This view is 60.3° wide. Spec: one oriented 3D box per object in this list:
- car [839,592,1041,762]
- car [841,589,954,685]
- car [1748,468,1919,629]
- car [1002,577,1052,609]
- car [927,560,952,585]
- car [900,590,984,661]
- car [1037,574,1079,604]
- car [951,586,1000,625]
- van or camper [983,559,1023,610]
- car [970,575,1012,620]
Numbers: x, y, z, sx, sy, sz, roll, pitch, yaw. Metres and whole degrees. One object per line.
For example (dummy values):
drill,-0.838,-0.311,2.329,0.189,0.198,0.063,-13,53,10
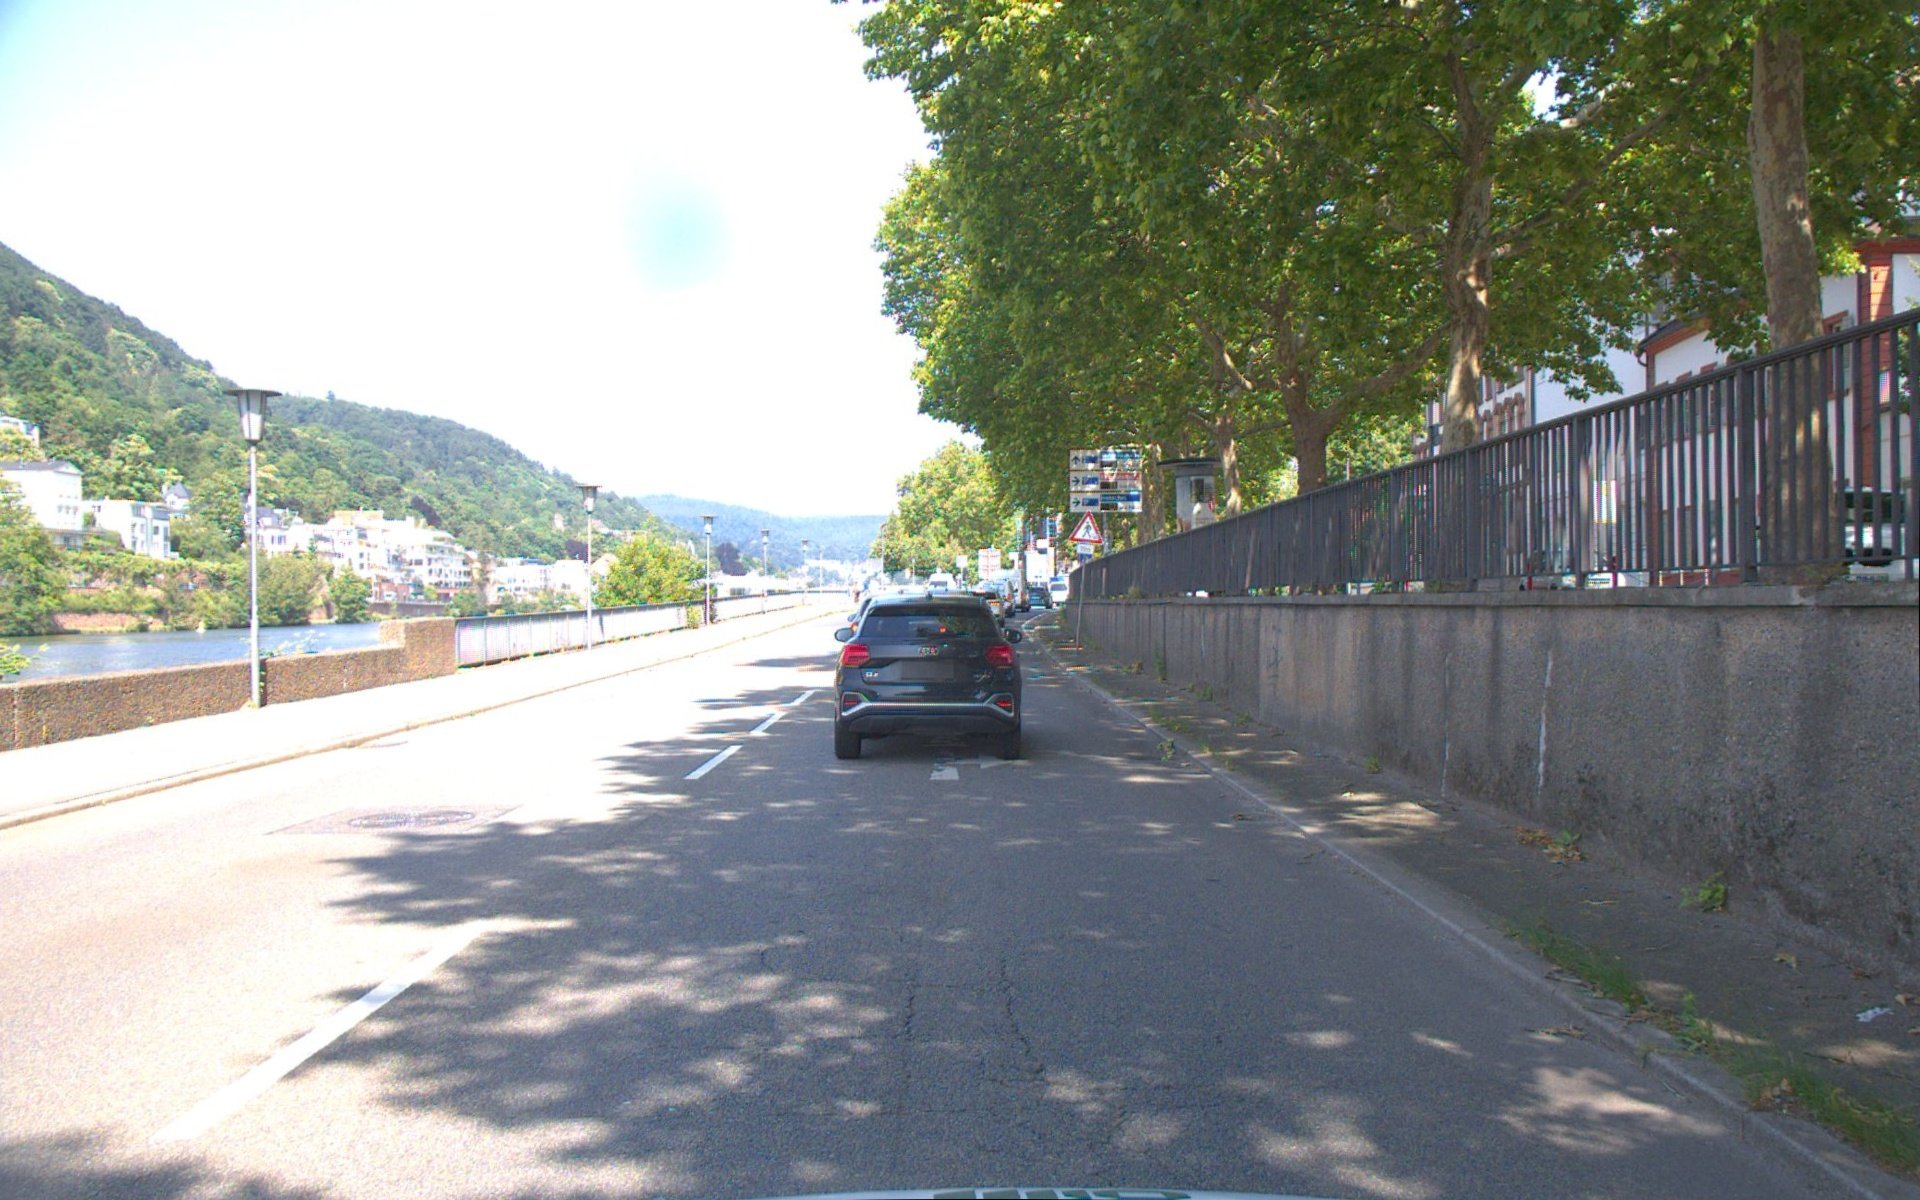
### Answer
car,-0.216,0.677,16.721,1.791,1.512,3.999,0,0,-1
car,-1.044,0.584,28.519,1.791,1.537,3.999,0,0,-1
car,9.299,-0.484,17.360,1.740,1.495,3.995,0,0,27
car,4.559,-0.491,114.064,3.036,2.049,5.823,-2,0,-1
car,-1.791,-2.356,143.289,1.953,2.048,3.999,-3,0,-1
car,-0.428,0.534,37.163,1.791,1.512,3.999,0,0,-1
car,7.410,-0.846,125.957,2.608,2.048,5.823,-3,0,-1
car,0.575,0.196,65.202,1.791,1.470,3.999,0,0,-1
van or camper,2.551,-0.910,99.265,2.262,2.897,4.246,-2,0,1
car,1.569,-0.117,86.159,1.953,2.207,3.999,-2,0,-1
